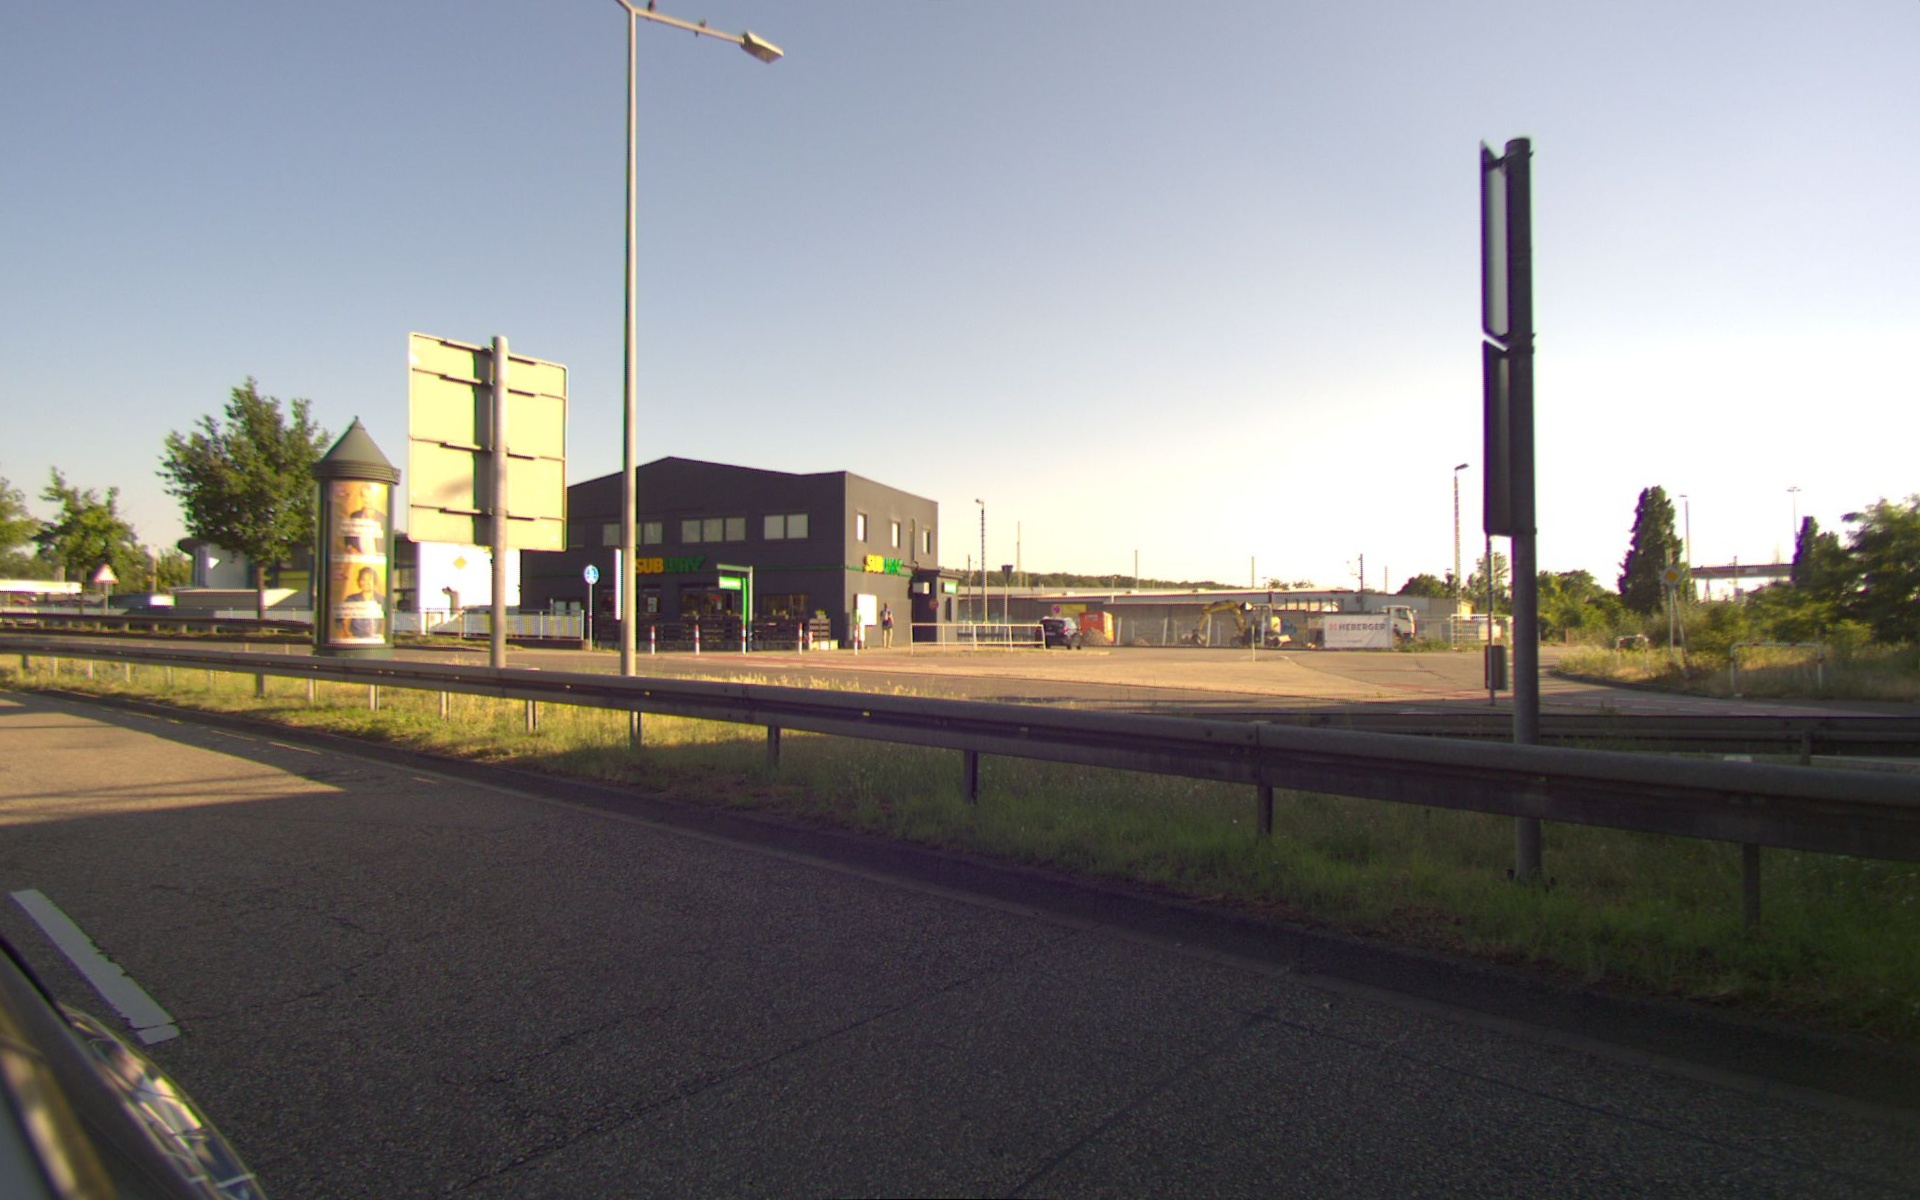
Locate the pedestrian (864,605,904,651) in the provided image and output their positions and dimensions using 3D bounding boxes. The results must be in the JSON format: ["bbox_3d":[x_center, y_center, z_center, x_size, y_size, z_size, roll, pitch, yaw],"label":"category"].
[{"bbox_3d":[-3.141,1.136,41.882,1.267,1.849,1.077,-1,0,23],"label":"pedestrian"}]

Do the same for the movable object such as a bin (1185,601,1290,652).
[{"bbox_3d":[18.616,1.767,67.972,6.585,3.241,2.429,-1,0,23],"label":"movable object such as a bin"}]
